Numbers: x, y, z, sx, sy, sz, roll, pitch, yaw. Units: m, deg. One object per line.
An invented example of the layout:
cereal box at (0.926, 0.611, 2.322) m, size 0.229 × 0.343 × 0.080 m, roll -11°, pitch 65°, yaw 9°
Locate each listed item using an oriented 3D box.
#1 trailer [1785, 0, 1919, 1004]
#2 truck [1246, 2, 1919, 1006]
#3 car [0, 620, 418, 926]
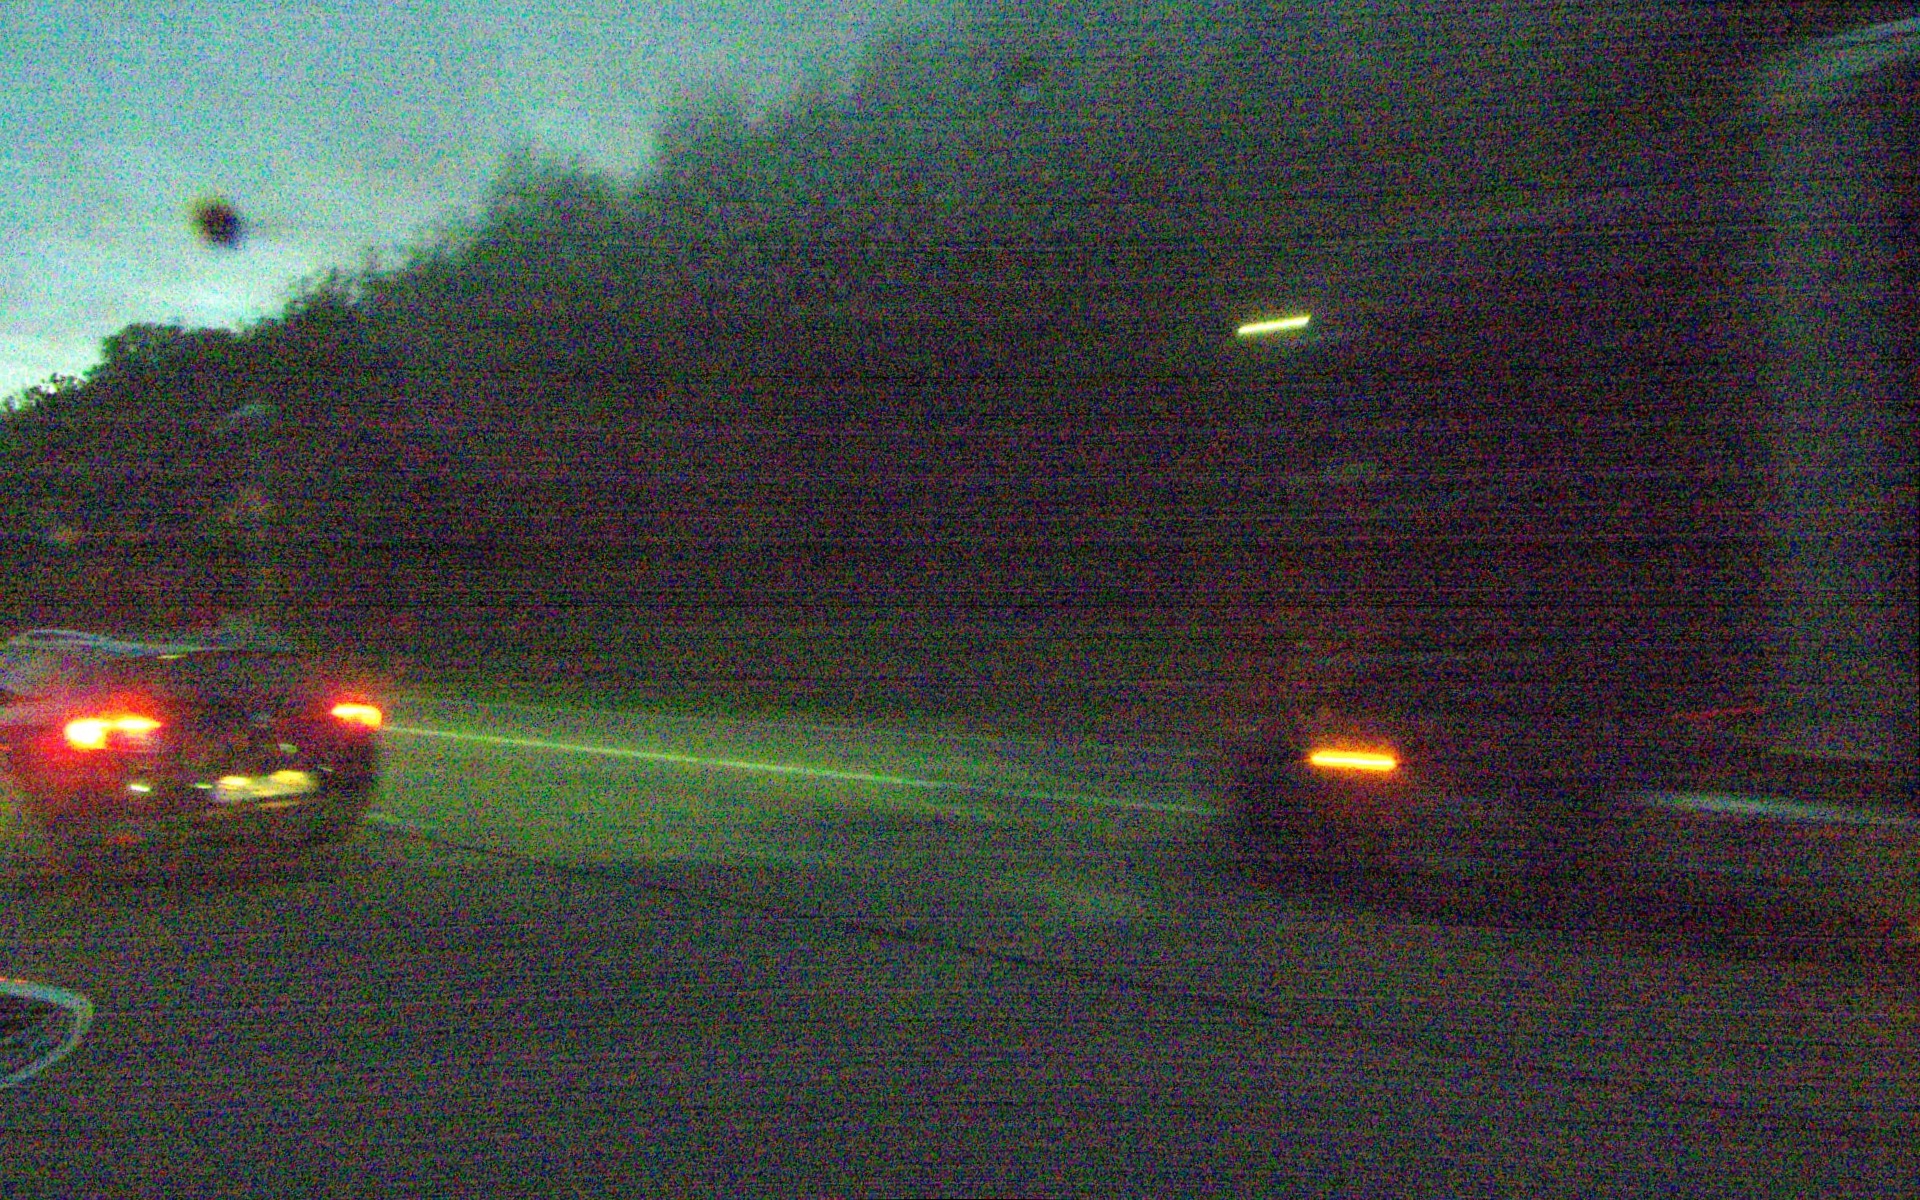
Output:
trailer at (10.023, -0.498, 1.498) m, size 13.312 × 4.125 × 2.478 m, roll -1°, pitch -1°, yaw 32°
truck at (4.539, -0.361, 5.038) m, size 5.511 × 4.019 × 2.487 m, roll 0°, pitch -1°, yaw 32°
car at (-5.963, 0.904, 6.981) m, size 4.878 × 1.509 × 1.688 m, roll -1°, pitch -2°, yaw 32°
